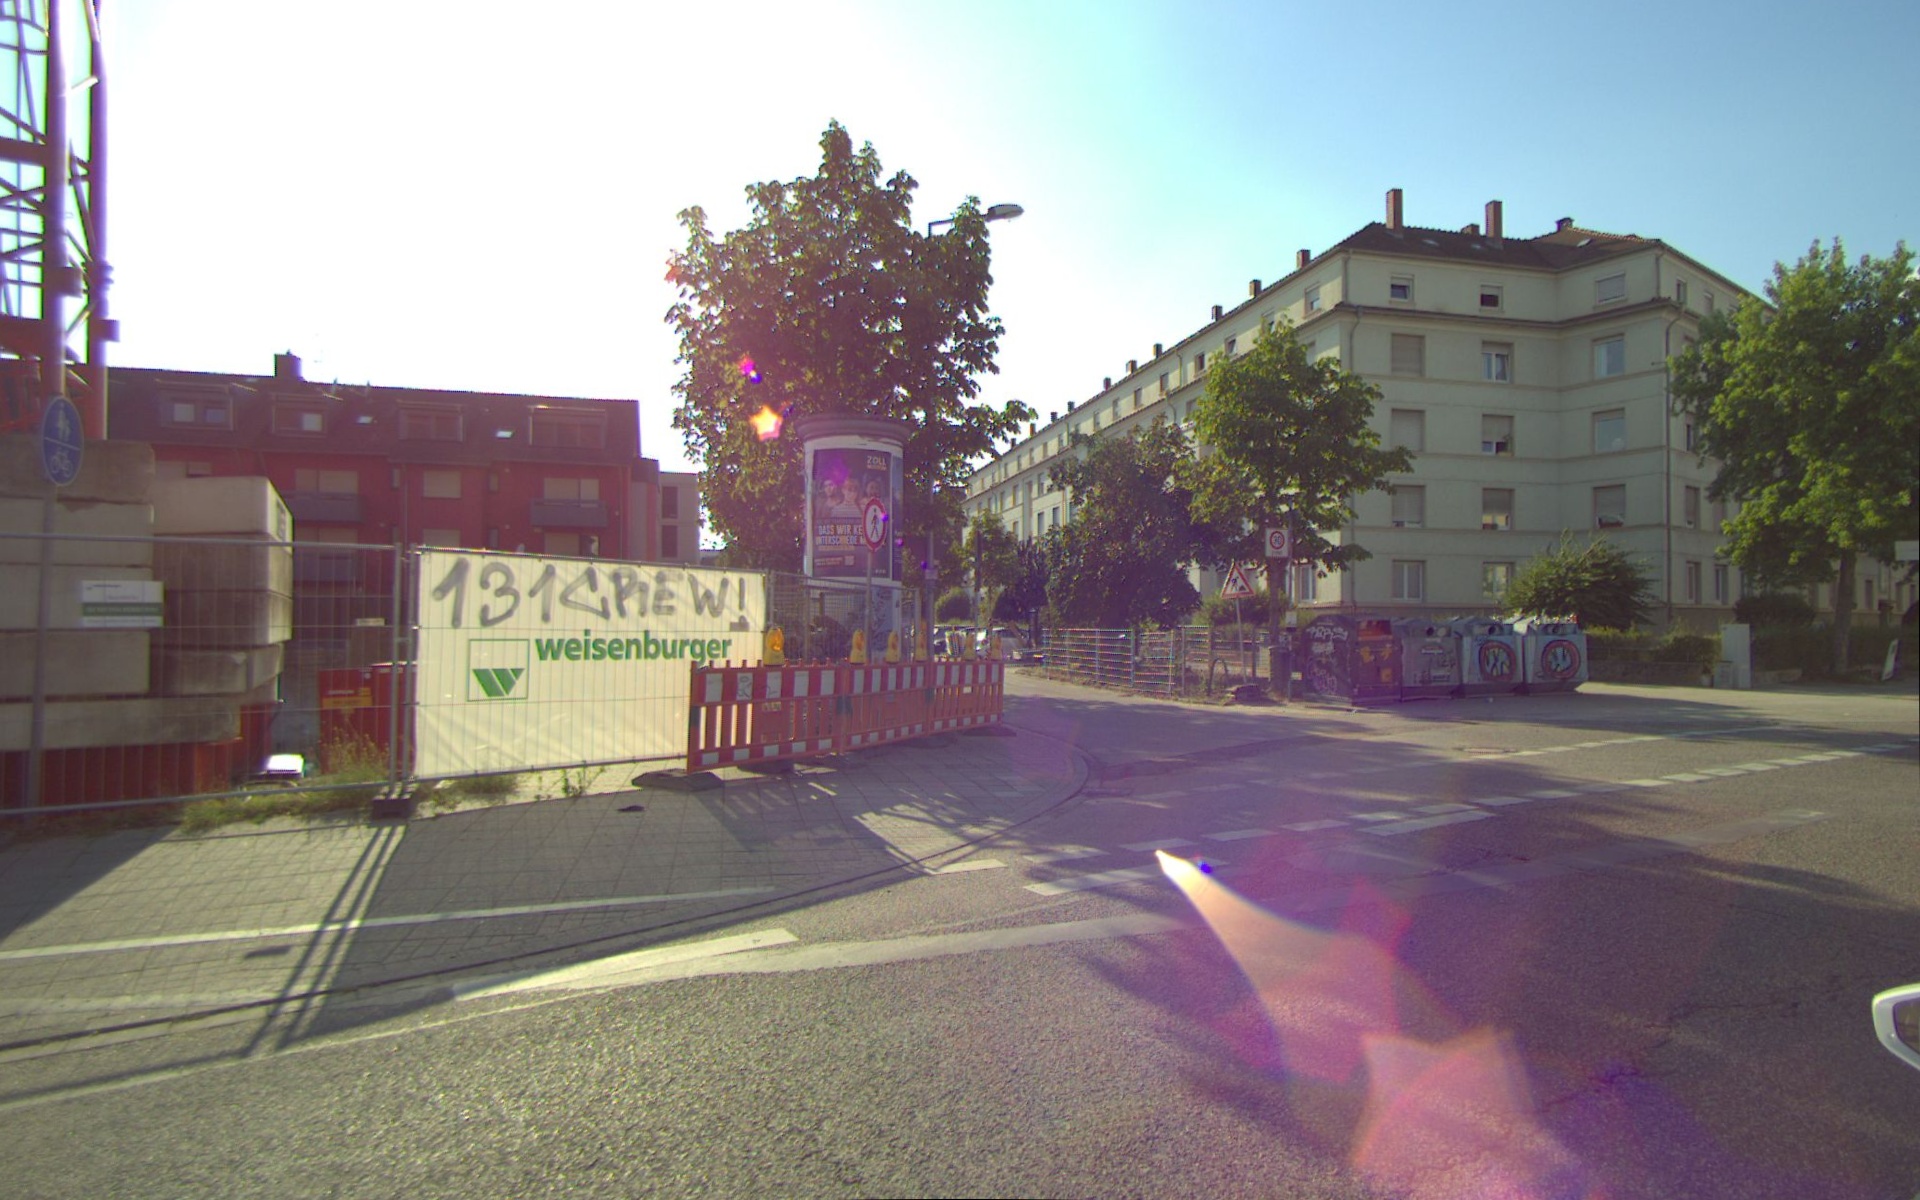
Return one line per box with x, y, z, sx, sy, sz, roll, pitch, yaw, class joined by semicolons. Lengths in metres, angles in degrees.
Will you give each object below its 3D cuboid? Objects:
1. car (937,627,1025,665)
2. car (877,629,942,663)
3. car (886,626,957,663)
0.999;2.268;49.529;3.933;1.684;1.994;2;0;-14;car
-3.392;3.070;67.247;3.937;2.040;1.992;2;0;-18;car
-2.370;2.742;62.029;3.937;2.040;1.992;2;0;-18;car
